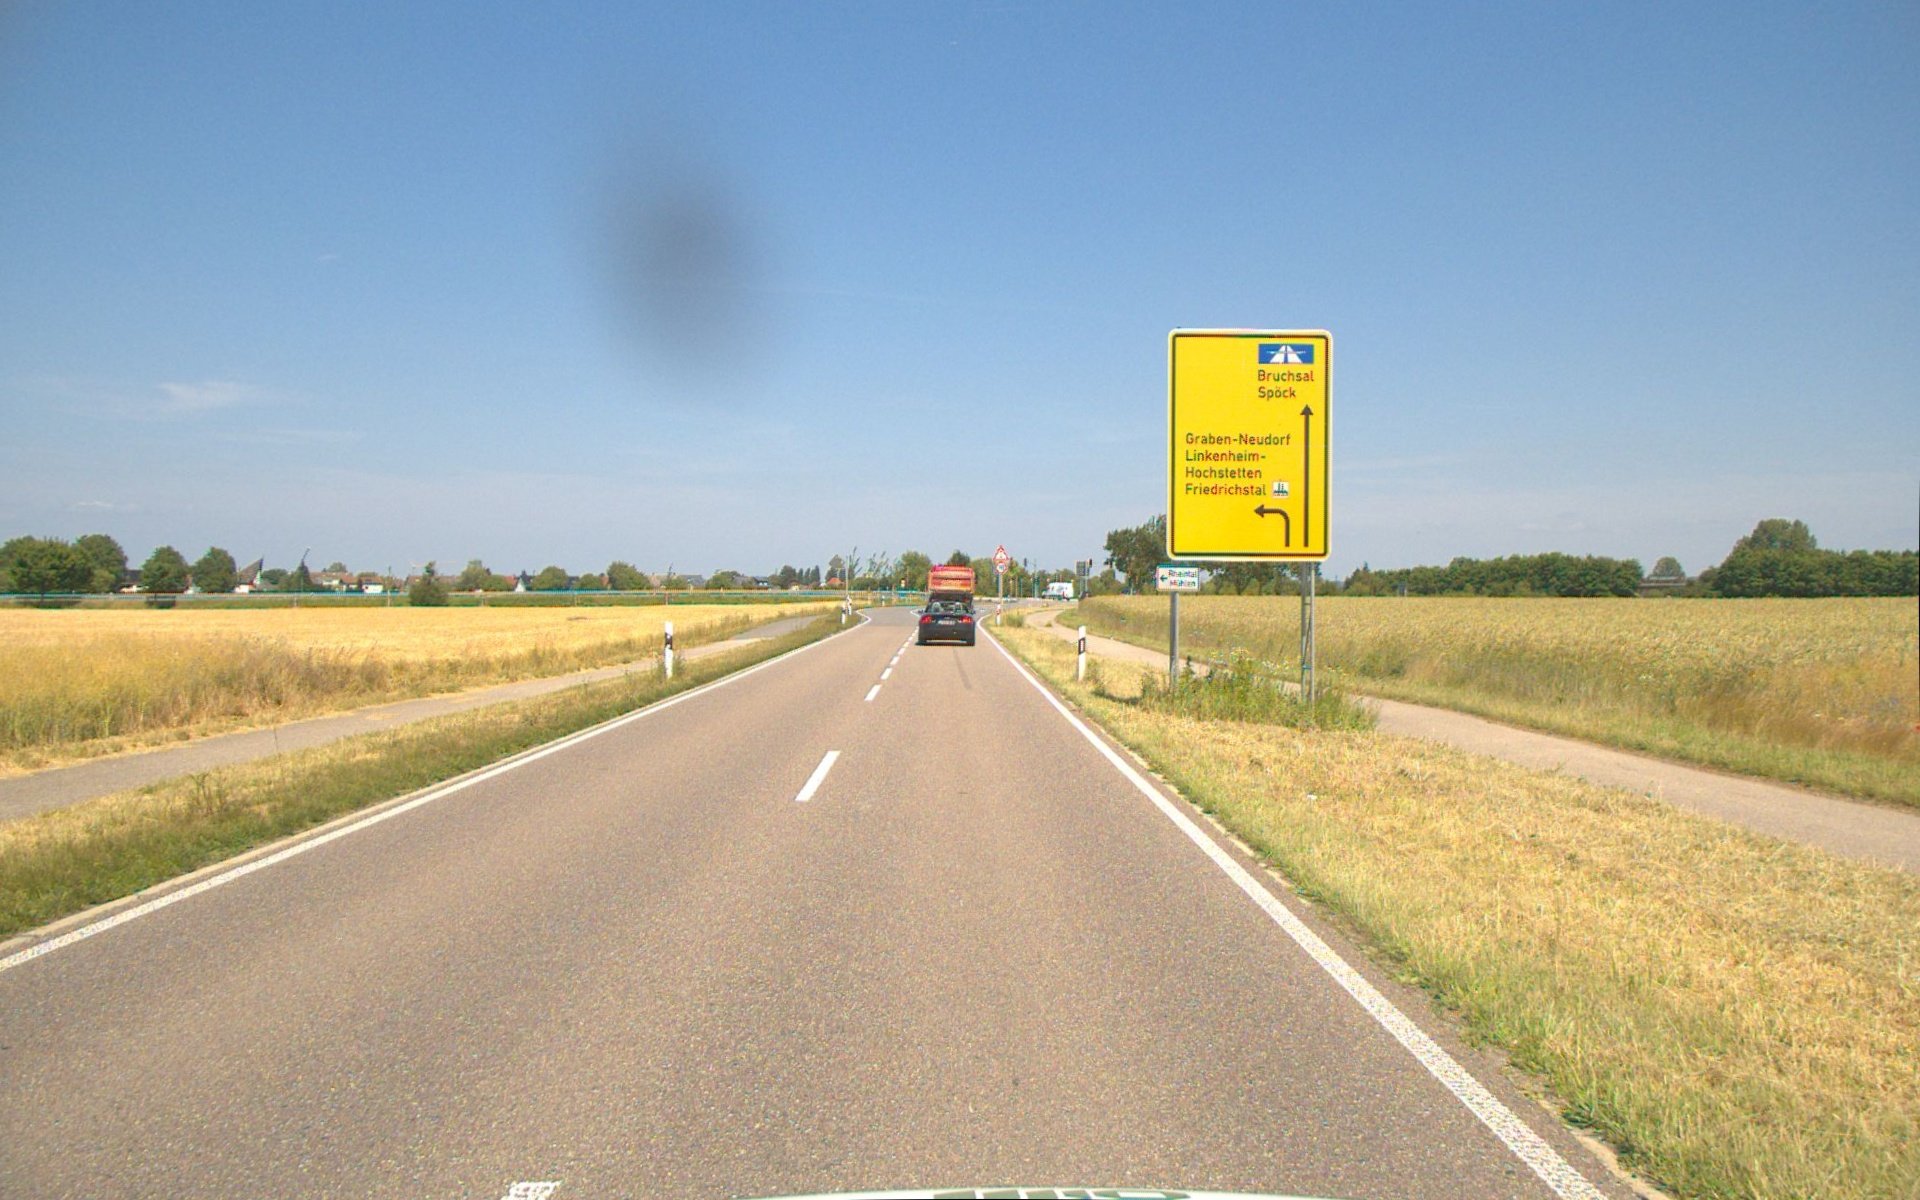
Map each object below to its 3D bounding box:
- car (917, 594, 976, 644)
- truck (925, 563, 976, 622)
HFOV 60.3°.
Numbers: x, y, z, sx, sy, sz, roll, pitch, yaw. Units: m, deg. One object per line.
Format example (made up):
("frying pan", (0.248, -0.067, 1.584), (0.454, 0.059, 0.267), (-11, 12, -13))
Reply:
("car", (-0.416, 0.586, 50.656), (1.712, 1.399, 3.678), (2, -1, -1))
("truck", (-0.571, -0.366, 93.311), (2.659, 3.106, 8.162), (1, -1, -1))
